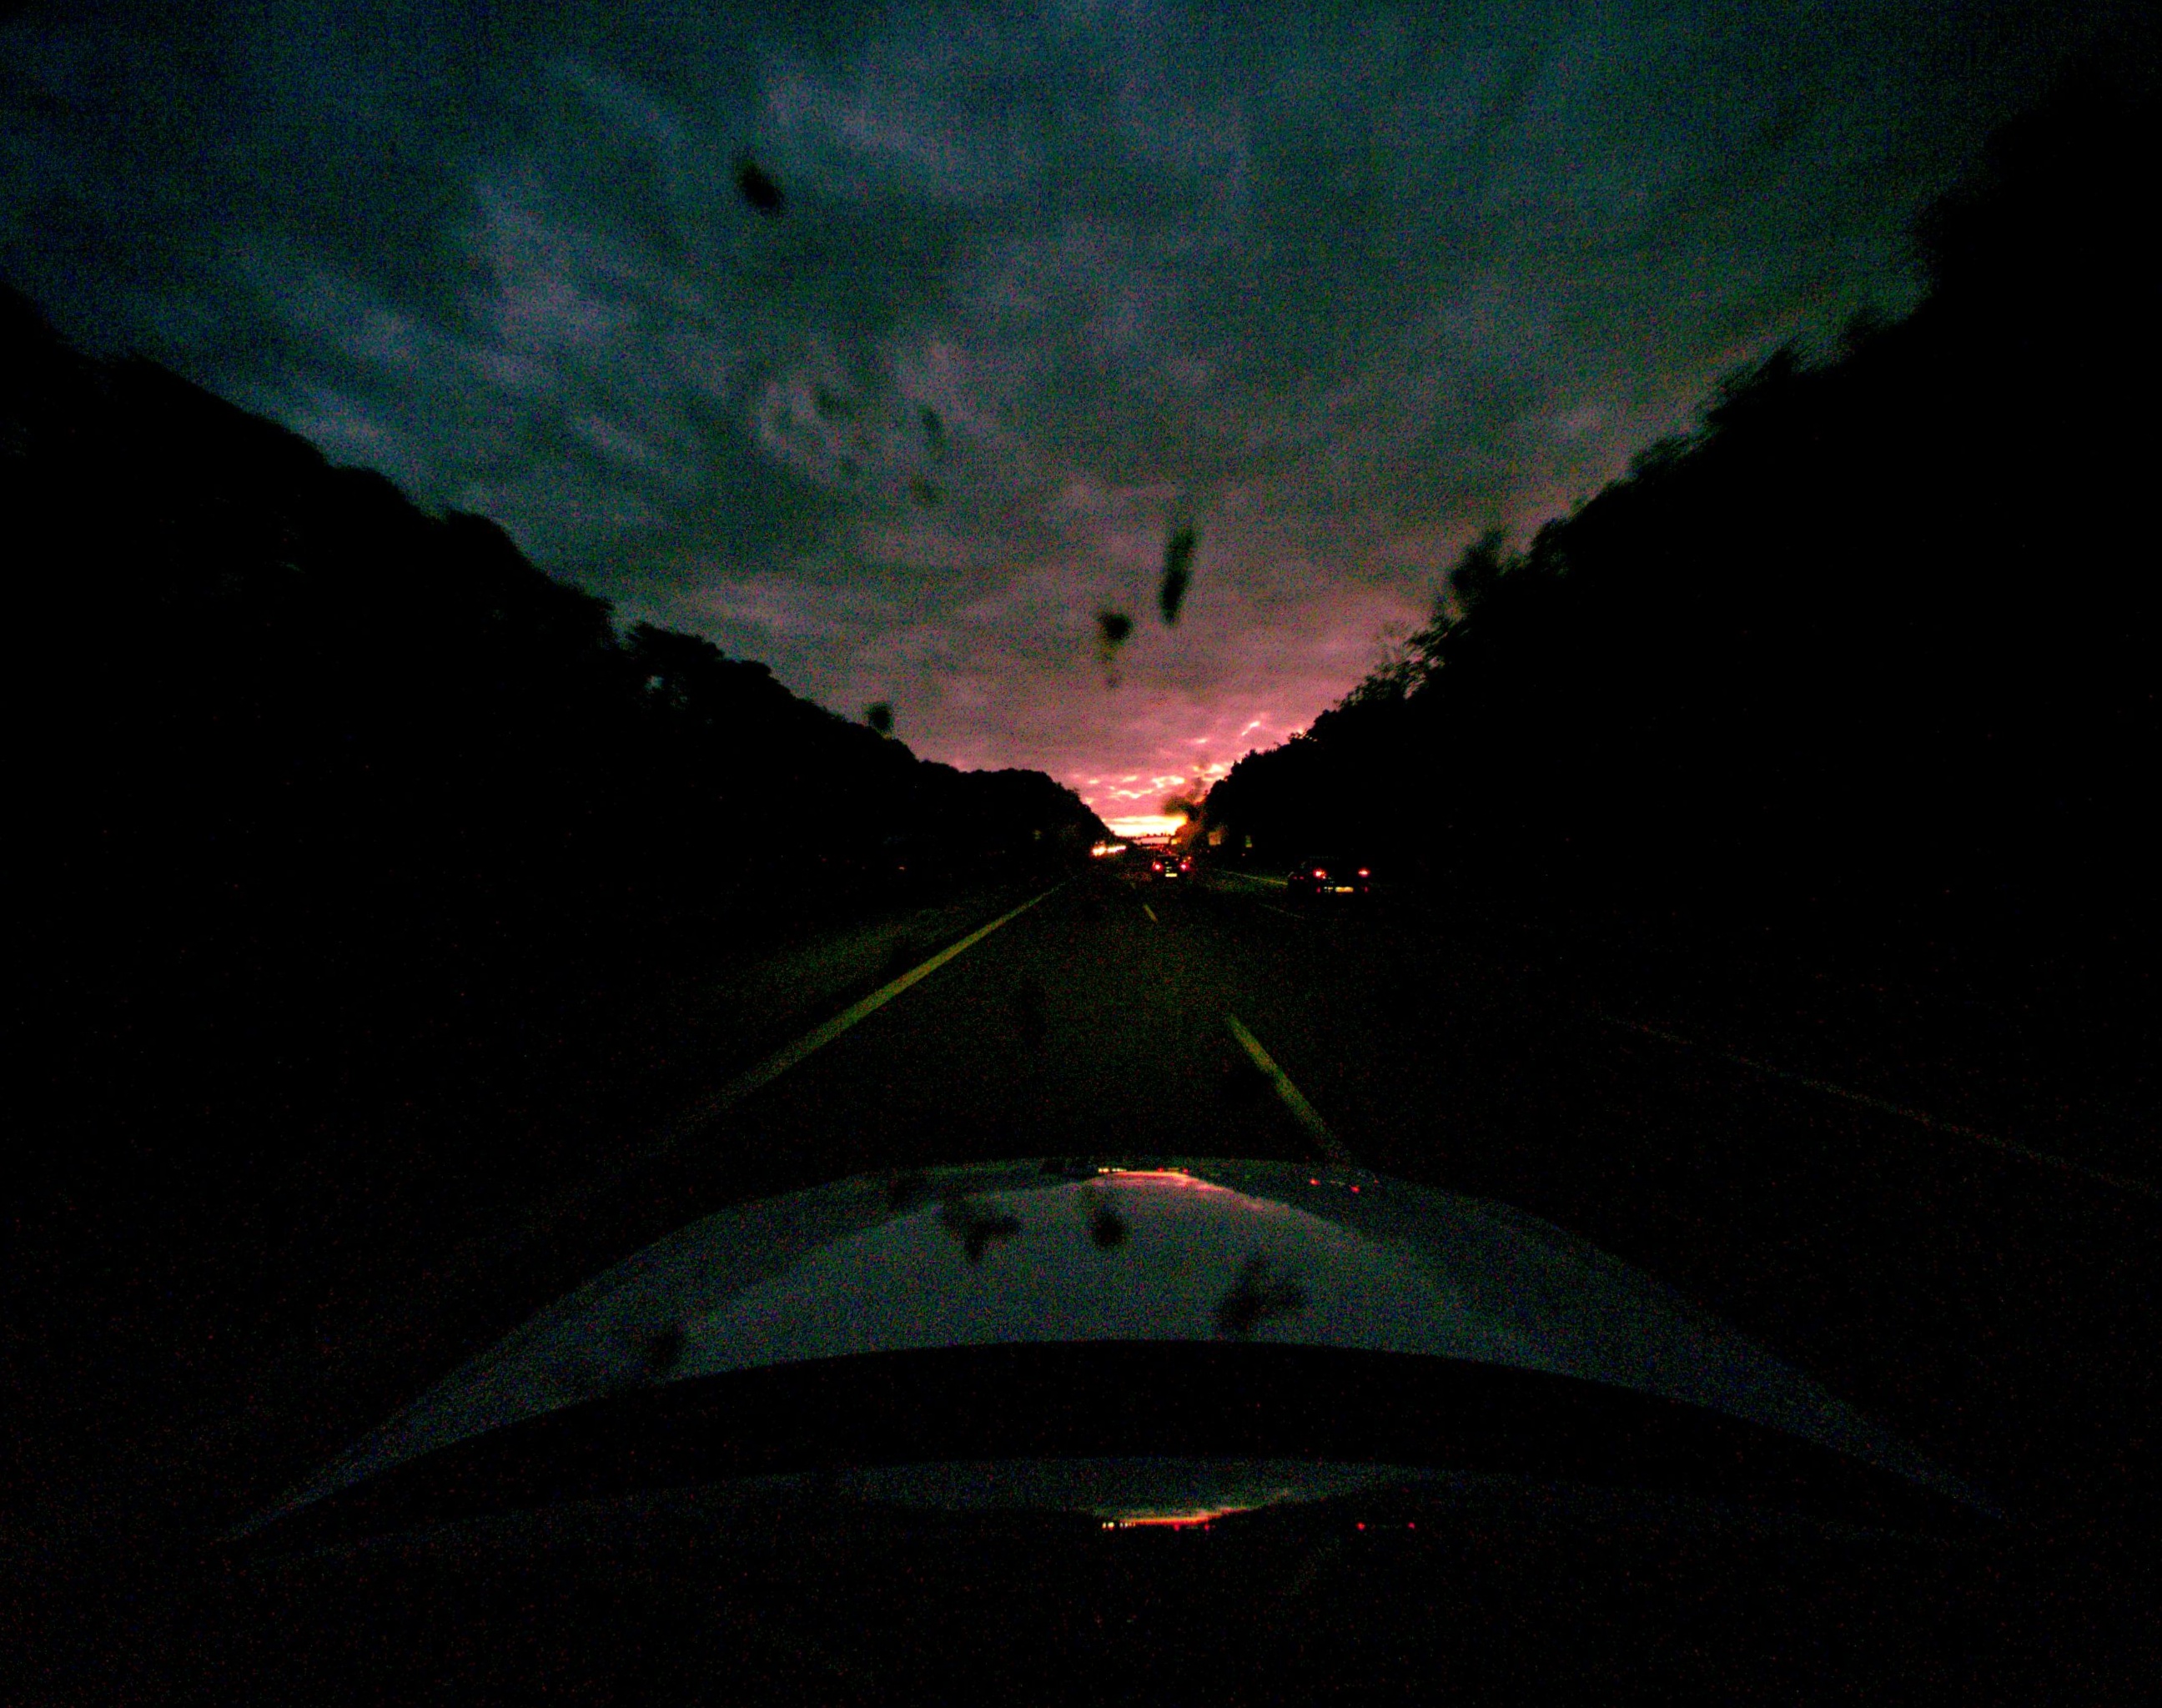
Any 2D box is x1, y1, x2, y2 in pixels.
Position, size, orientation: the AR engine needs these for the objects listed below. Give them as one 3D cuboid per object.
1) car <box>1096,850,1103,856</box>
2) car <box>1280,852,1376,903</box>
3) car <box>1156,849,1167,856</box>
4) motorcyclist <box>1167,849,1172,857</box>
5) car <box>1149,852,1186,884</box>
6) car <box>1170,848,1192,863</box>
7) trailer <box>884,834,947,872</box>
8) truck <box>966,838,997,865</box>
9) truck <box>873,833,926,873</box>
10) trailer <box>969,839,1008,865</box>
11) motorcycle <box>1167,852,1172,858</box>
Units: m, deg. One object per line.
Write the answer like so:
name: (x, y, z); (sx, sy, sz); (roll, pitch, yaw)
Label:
car: (5.318, -0.306, 234.235); (1.678, 1.515, 4.421); (-2, 0, 5)
car: (7.652, 0.680, 25.676); (1.857, 1.435, 4.587); (-1, 0, 3)
car: (16.972, -0.291, 171.430); (1.859, 1.494, 4.399); (-1, -1, 1)
motorcyclist: (15.891, -0.164, 146.015); (0.826, 1.291, 1.191); (-2, -1, 5)
car: (4.309, 0.709, 40.978); (1.696, 1.509, 4.236); (-1, -1, 4)
car: (10.431, 0.181, 84.856); (1.819, 1.476, 4.399); (-1, -1, 1)
trailer: (-18.999, -0.109, 94.995); (3.175, 4.104, 13.762); (-1, 0, 6)
truck: (-15.763, -0.387, 129.429); (3.175, 4.104, 7.702); (-1, 0, 6)
truck: (-19.645, -0.065, 88.728); (3.175, 4.104, 7.702); (-1, 0, 6)
trailer: (-15.167, -0.326, 135.008); (3.175, 4.104, 14.208); (-1, 0, 6)
motorcycle: (15.909, 0.215, 146.076); (0.826, 1.134, 2.479); (-2, 0, 5)
